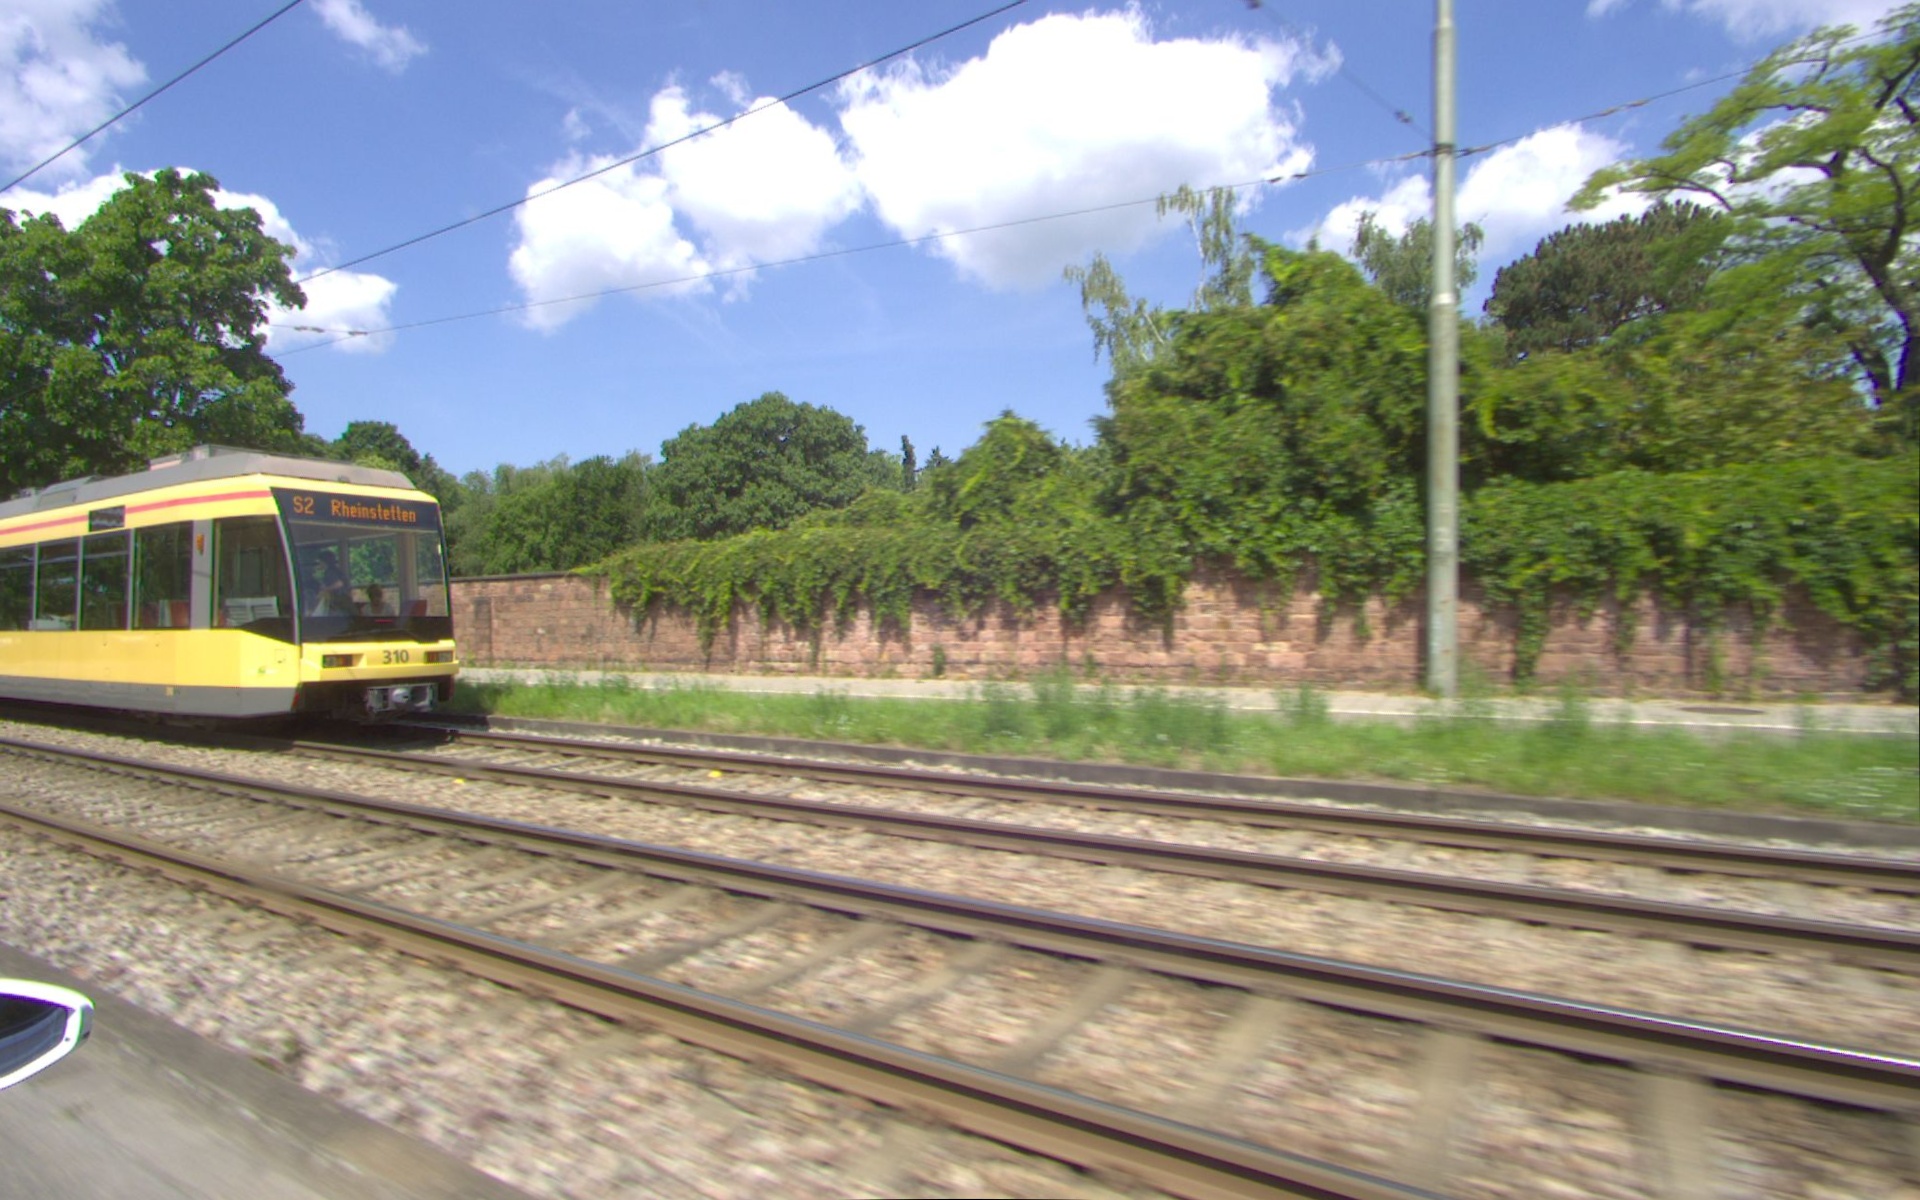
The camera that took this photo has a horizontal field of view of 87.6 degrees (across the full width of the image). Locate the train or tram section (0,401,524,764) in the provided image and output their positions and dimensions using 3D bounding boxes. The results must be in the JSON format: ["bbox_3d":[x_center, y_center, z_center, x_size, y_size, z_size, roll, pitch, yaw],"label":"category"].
[{"bbox_3d":[-13.978,-0.036,16.461,18.128,3.739,2.938,-1,-1,33],"label":"train or tram section"}]

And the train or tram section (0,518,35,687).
[{"bbox_3d":[-30.176,0.158,26.611,19.988,3.739,2.939,-1,-1,32],"label":"train or tram section"}]
